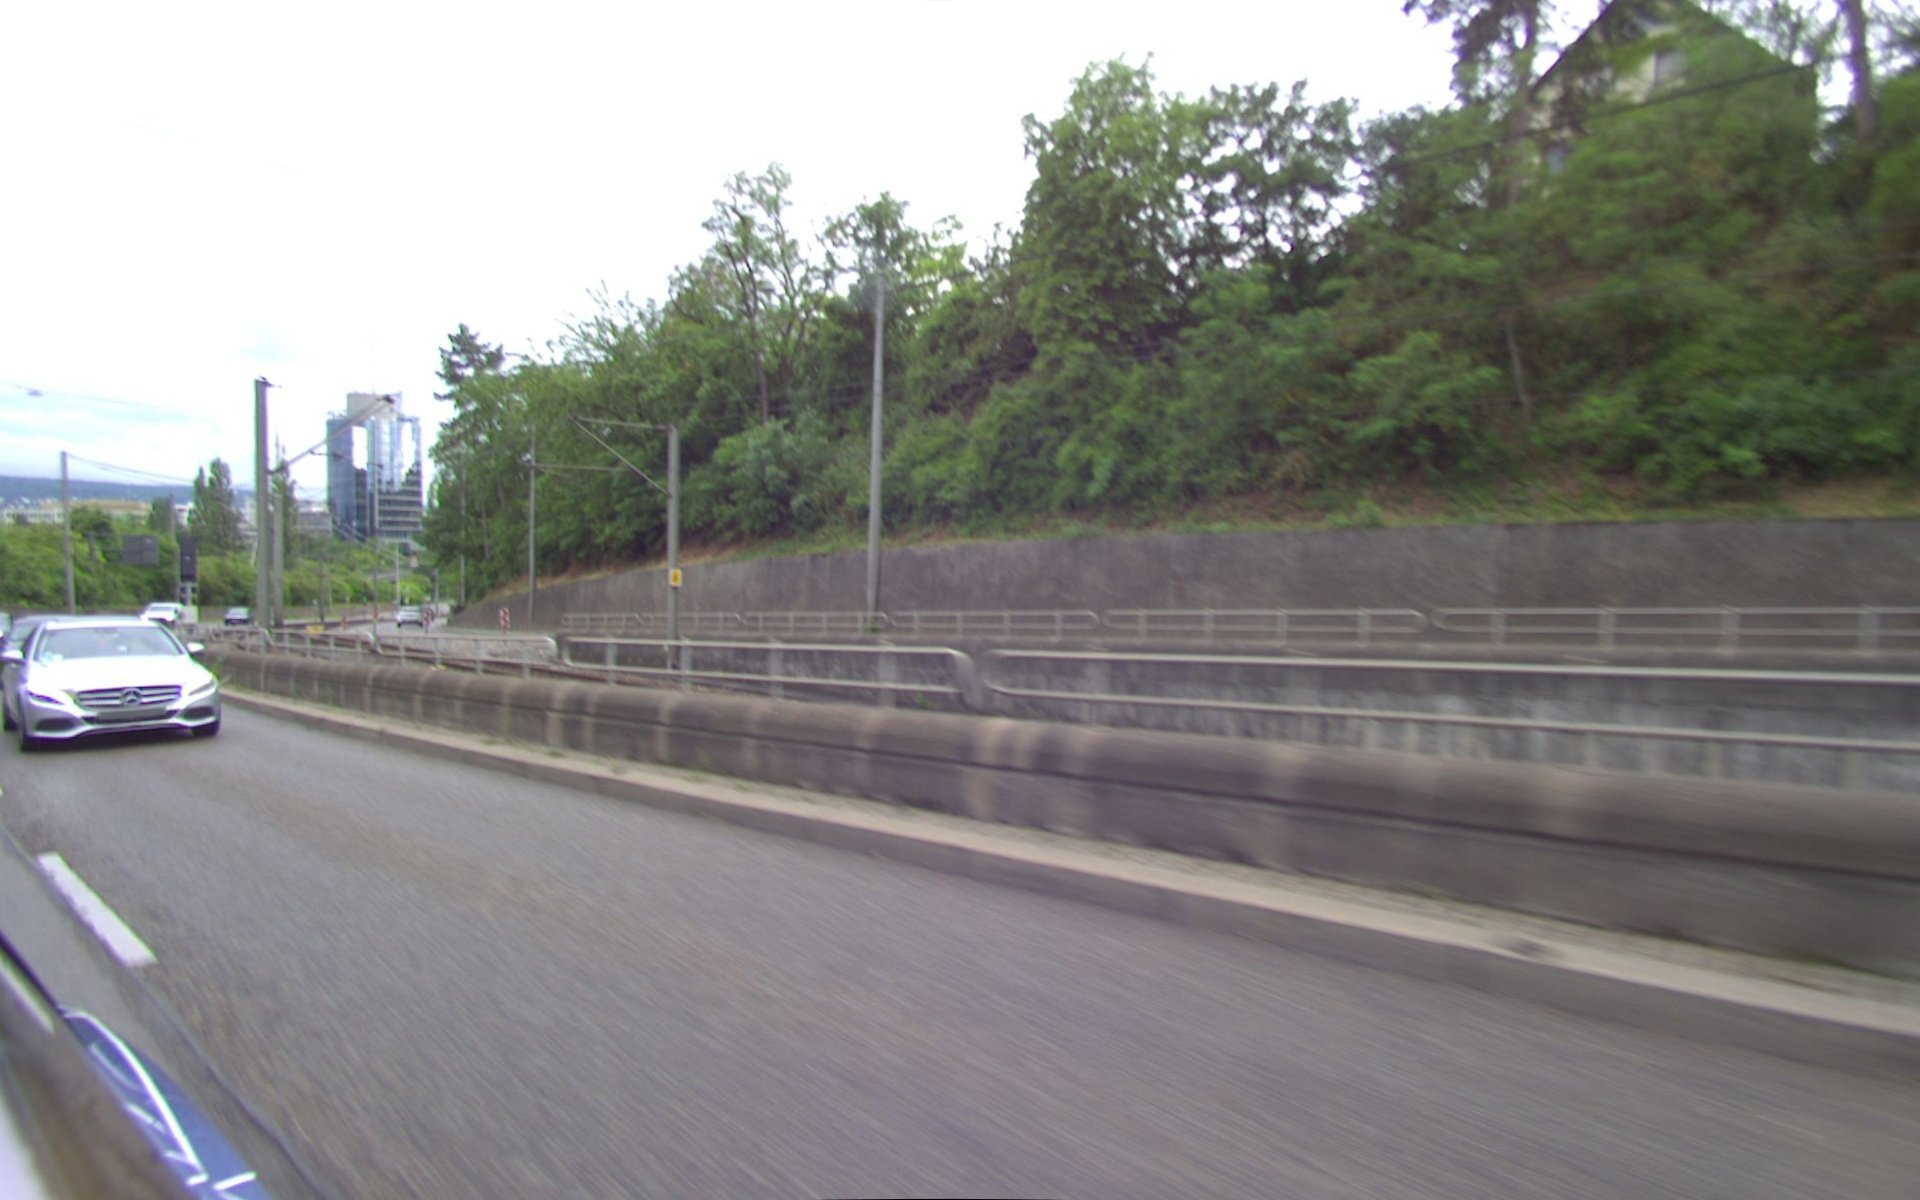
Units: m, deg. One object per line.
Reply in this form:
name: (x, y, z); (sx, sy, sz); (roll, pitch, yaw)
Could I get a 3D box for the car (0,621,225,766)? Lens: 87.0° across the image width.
car: (-10.683, 1.003, 12.555); (4.316, 1.413, 1.836); (-1, 0, 45)

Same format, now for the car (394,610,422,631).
car: (-45.327, 1.657, 83.081); (1.908, 1.696, 4.421); (0, -1, -30)

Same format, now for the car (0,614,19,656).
car: (-39.685, 1.441, 41.129); (1.783, 1.521, 4.007); (-3, 4, -39)

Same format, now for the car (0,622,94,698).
car: (-19.709, 1.214, 21.707); (1.704, 1.482, 3.893); (1, -1, -41)

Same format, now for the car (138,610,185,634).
car: (-60.924, 1.637, 77.276); (1.780, 1.521, 4.014); (-2, 3, -23)

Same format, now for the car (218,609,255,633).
car: (-63.786, 1.809, 89.240); (1.965, 2.029, 4.509); (0, -1, -27)
